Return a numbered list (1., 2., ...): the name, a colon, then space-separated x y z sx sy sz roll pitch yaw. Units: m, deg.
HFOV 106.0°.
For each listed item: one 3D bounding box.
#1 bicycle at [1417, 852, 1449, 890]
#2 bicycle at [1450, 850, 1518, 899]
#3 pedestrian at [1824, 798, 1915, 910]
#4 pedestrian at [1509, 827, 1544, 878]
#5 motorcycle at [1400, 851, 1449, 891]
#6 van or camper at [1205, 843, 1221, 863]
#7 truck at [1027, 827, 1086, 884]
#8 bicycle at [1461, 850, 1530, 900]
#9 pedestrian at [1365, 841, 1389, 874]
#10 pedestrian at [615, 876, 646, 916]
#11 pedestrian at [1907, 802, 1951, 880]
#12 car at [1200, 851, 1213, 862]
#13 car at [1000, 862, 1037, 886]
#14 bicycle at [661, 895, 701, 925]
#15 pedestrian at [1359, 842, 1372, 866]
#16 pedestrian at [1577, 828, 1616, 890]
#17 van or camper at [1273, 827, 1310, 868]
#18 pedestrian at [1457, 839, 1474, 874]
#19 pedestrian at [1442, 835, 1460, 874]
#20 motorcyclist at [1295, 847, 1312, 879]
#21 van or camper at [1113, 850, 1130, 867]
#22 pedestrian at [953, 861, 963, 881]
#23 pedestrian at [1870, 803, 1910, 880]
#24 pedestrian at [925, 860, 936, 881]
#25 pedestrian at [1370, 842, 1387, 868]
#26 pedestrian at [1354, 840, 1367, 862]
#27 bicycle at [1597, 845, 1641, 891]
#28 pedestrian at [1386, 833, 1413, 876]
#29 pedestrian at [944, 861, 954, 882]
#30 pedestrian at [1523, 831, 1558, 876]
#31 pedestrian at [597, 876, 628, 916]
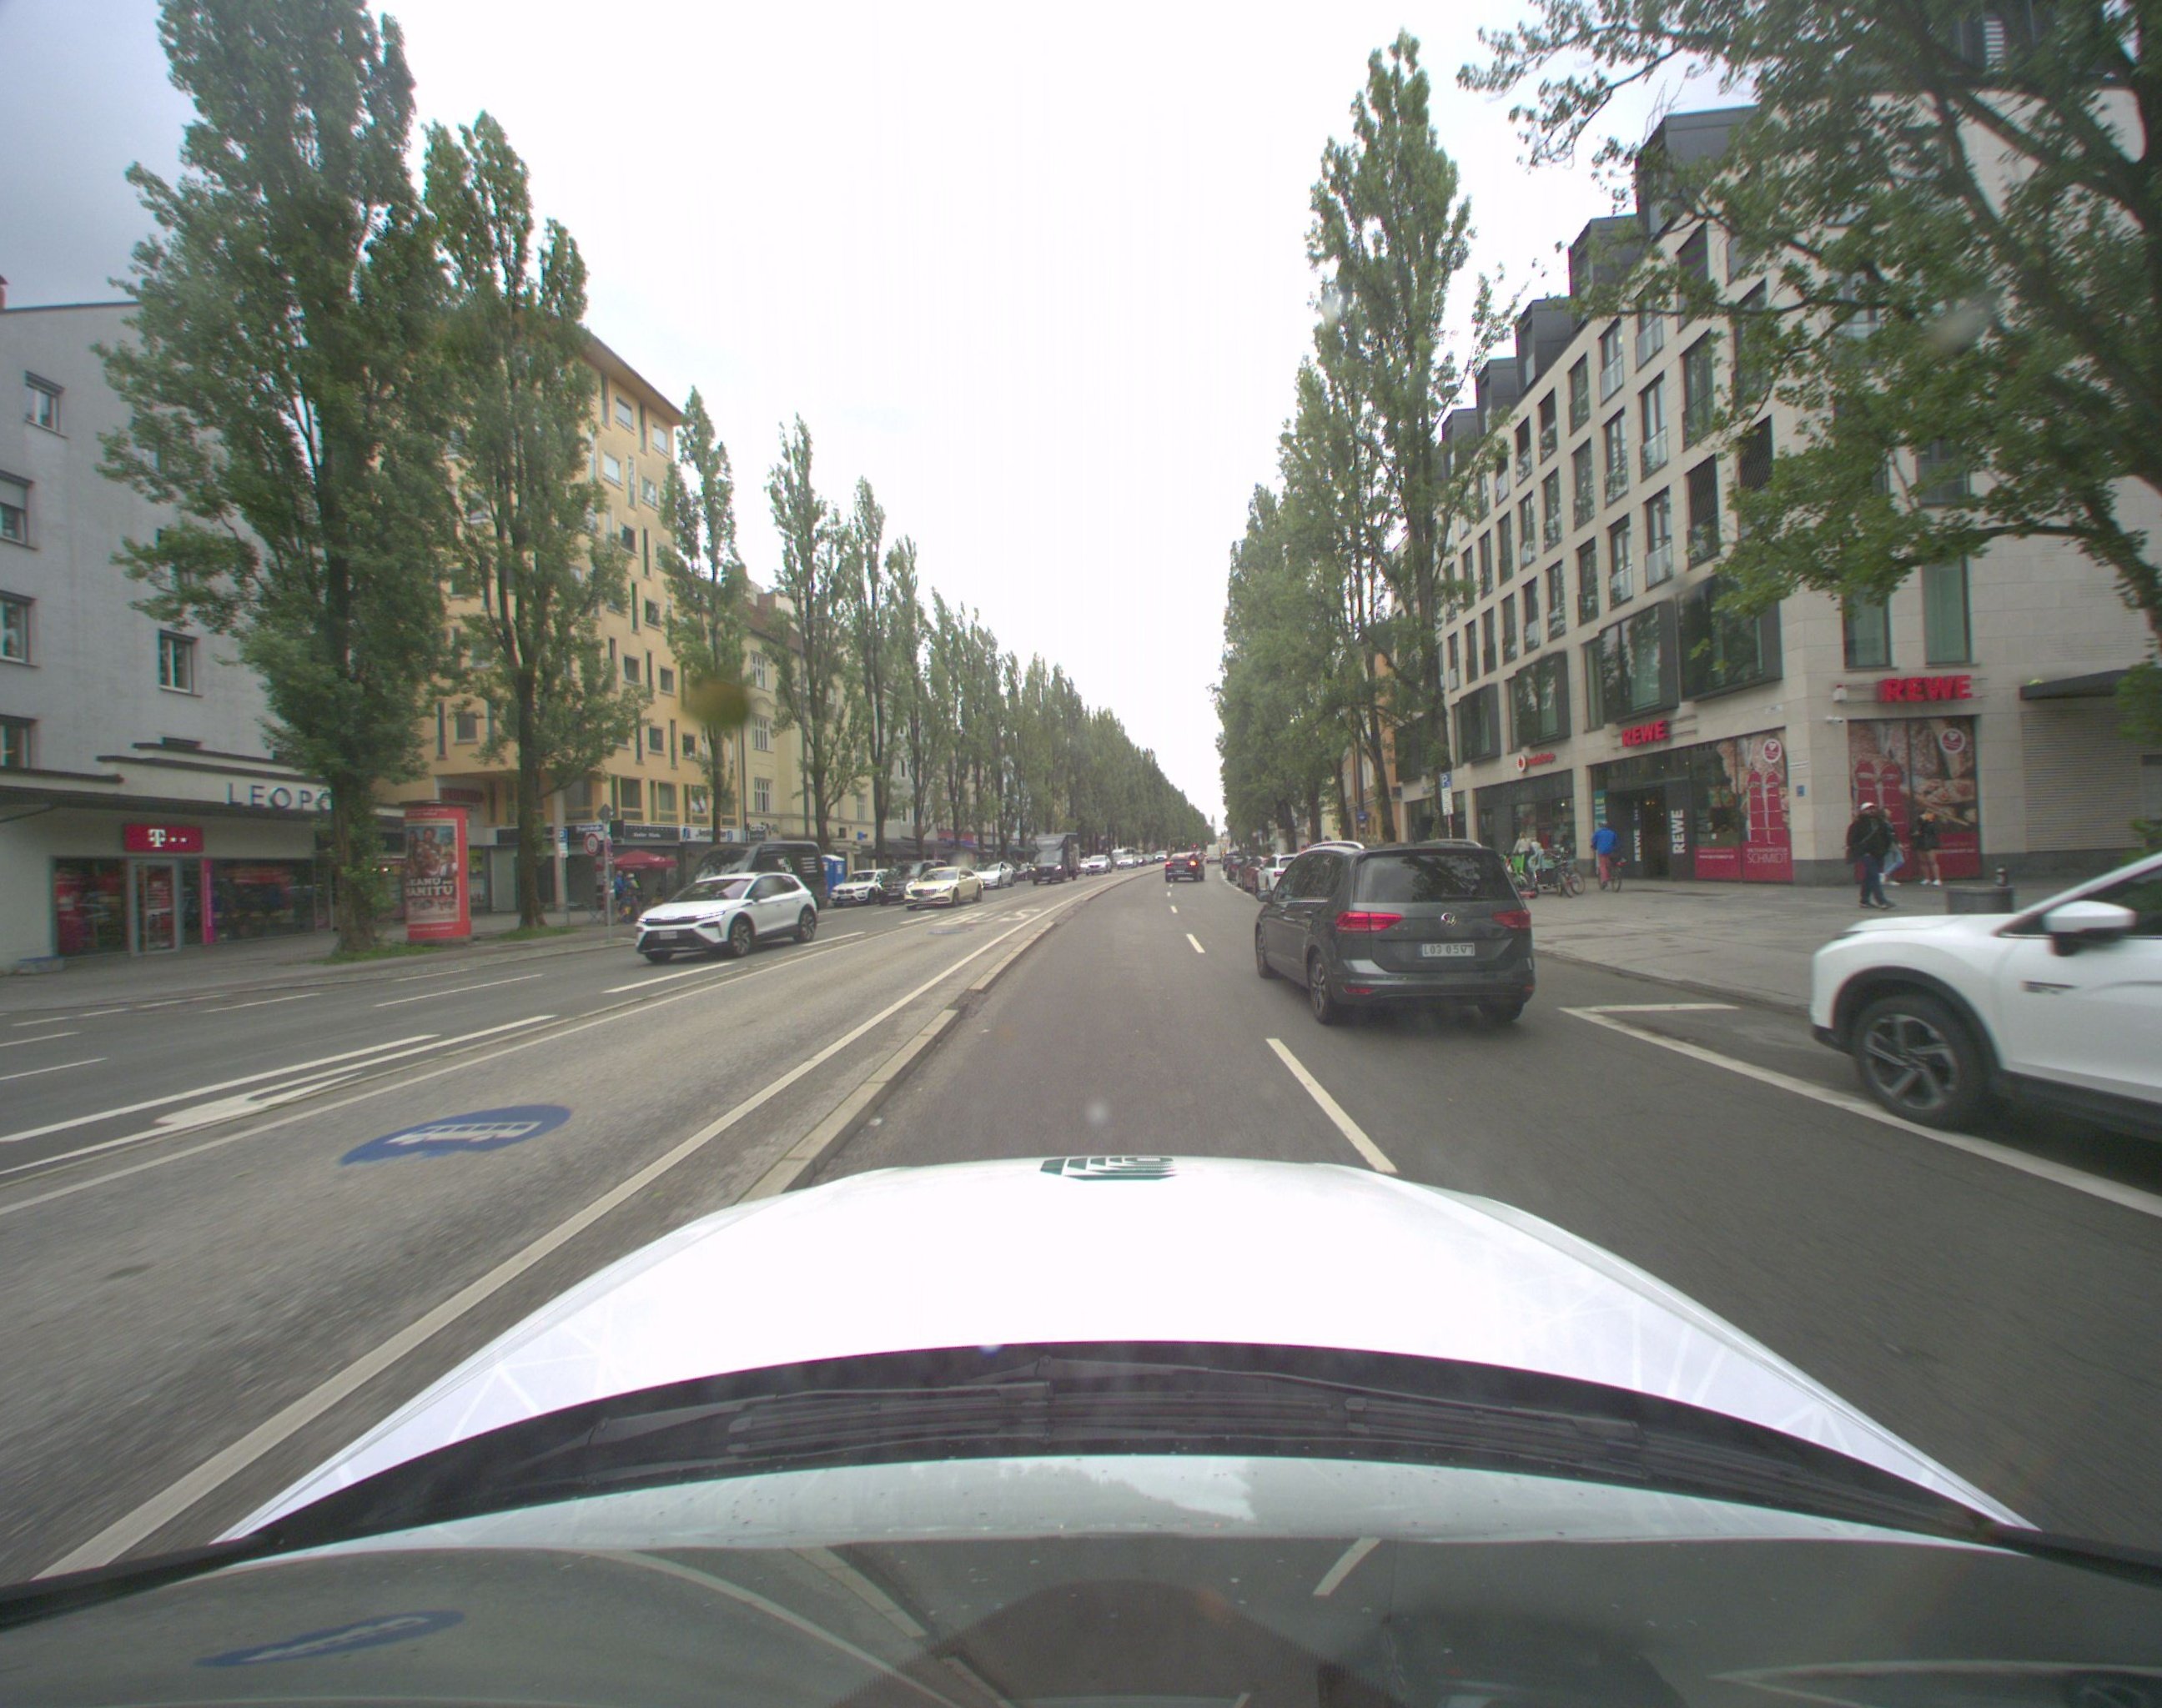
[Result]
1. bicycle: 11.723 0.545 27.091 0.540 1.189 1.464 -3 -1 38
2. bicycle: 10.739 0.548 21.721 1.473 1.207 0.536 -3 0 1
3. pedestrian: 14.232 0.003 14.732 0.644 1.924 0.926 -3 -1 1
4. pedestrian: 16.036 -0.048 29.313 0.795 1.772 0.678 -3 -1 -15
5. motorcycle: 12.328 0.600 29.265 0.687 1.356 1.633 -3 0 -17
6. van or camper: 18.239 -0.102 112.080 2.022 2.475 4.010 -3 -2 10
7. truck: -1.474 0.105 53.251 2.277 3.323 7.176 -4 0 9
8. bicycle: 10.755 0.541 21.147 1.473 1.207 0.536 -3 0 1
9. pedestrian: 14.855 0.179 40.892 0.831 1.576 0.938 -3 -1 2
10. pedestrian: -19.048 1.760 34.433 0.835 1.625 0.765 -1 -1 8
11. pedestrian: 19.392 -0.294 18.634 0.465 1.751 0.428 -3 -1 6
12. car: 21.165 0.453 137.203 1.980 1.717 4.013 -3 0 12
13. car: -4.924 1.557 64.598 1.851 1.629 4.180 -3 0 10
14. bicycle: -15.104 2.102 30.809 0.456 0.964 1.882 -3 0 3
15. pedestrian: 19.858 0.018 56.804 0.724 1.626 0.809 -3 -1 19
16. pedestrian: 13.853 0.133 21.905 0.605 1.619 0.798 -4 -1 17
17. van or camper: 17.131 -0.496 66.421 2.445 3.112 4.729 -3 0 11
18. pedestrian: 16.491 0.105 34.919 0.497 1.491 0.551 -3 -1 34
19. pedestrian: 15.830 0.040 34.828 0.544 1.638 0.562 -3 -1 34
20. motorcyclist: 10.122 0.410 37.059 0.561 1.406 0.767 -3 -1 6
21. van or camper: 6.288 0.627 125.629 1.981 2.458 4.263 -3 0 10
22. pedestrian: -11.351 1.567 75.344 0.634 1.862 0.649 -3 -1 9
23. pedestrian: 18.707 -0.277 18.828 0.427 1.751 0.465 -2 -1 -23
24. pedestrian: -12.787 1.392 69.376 0.634 1.700 0.649 -3 -1 9
25. pedestrian: 18.319 0.082 50.132 0.606 1.551 0.710 -4 0 -18
26. pedestrian: 21.714 -0.225 63.291 0.815 1.613 0.782 -3 -1 12
27. bicycle: 14.383 0.349 21.798 0.446 1.172 1.776 -3 0 17
28. pedestrian: 14.340 0.039 36.677 0.813 1.869 0.940 -3 -1 6
29. pedestrian: -12.197 1.586 75.313 0.634 1.862 0.649 -3 -1 9
30. pedestrian: 16.897 -0.018 29.941 0.795 1.621 0.714 -3 -1 -15
31. pedestrian: -19.933 1.781 34.668 0.835 1.625 0.765 -1 -1 8
